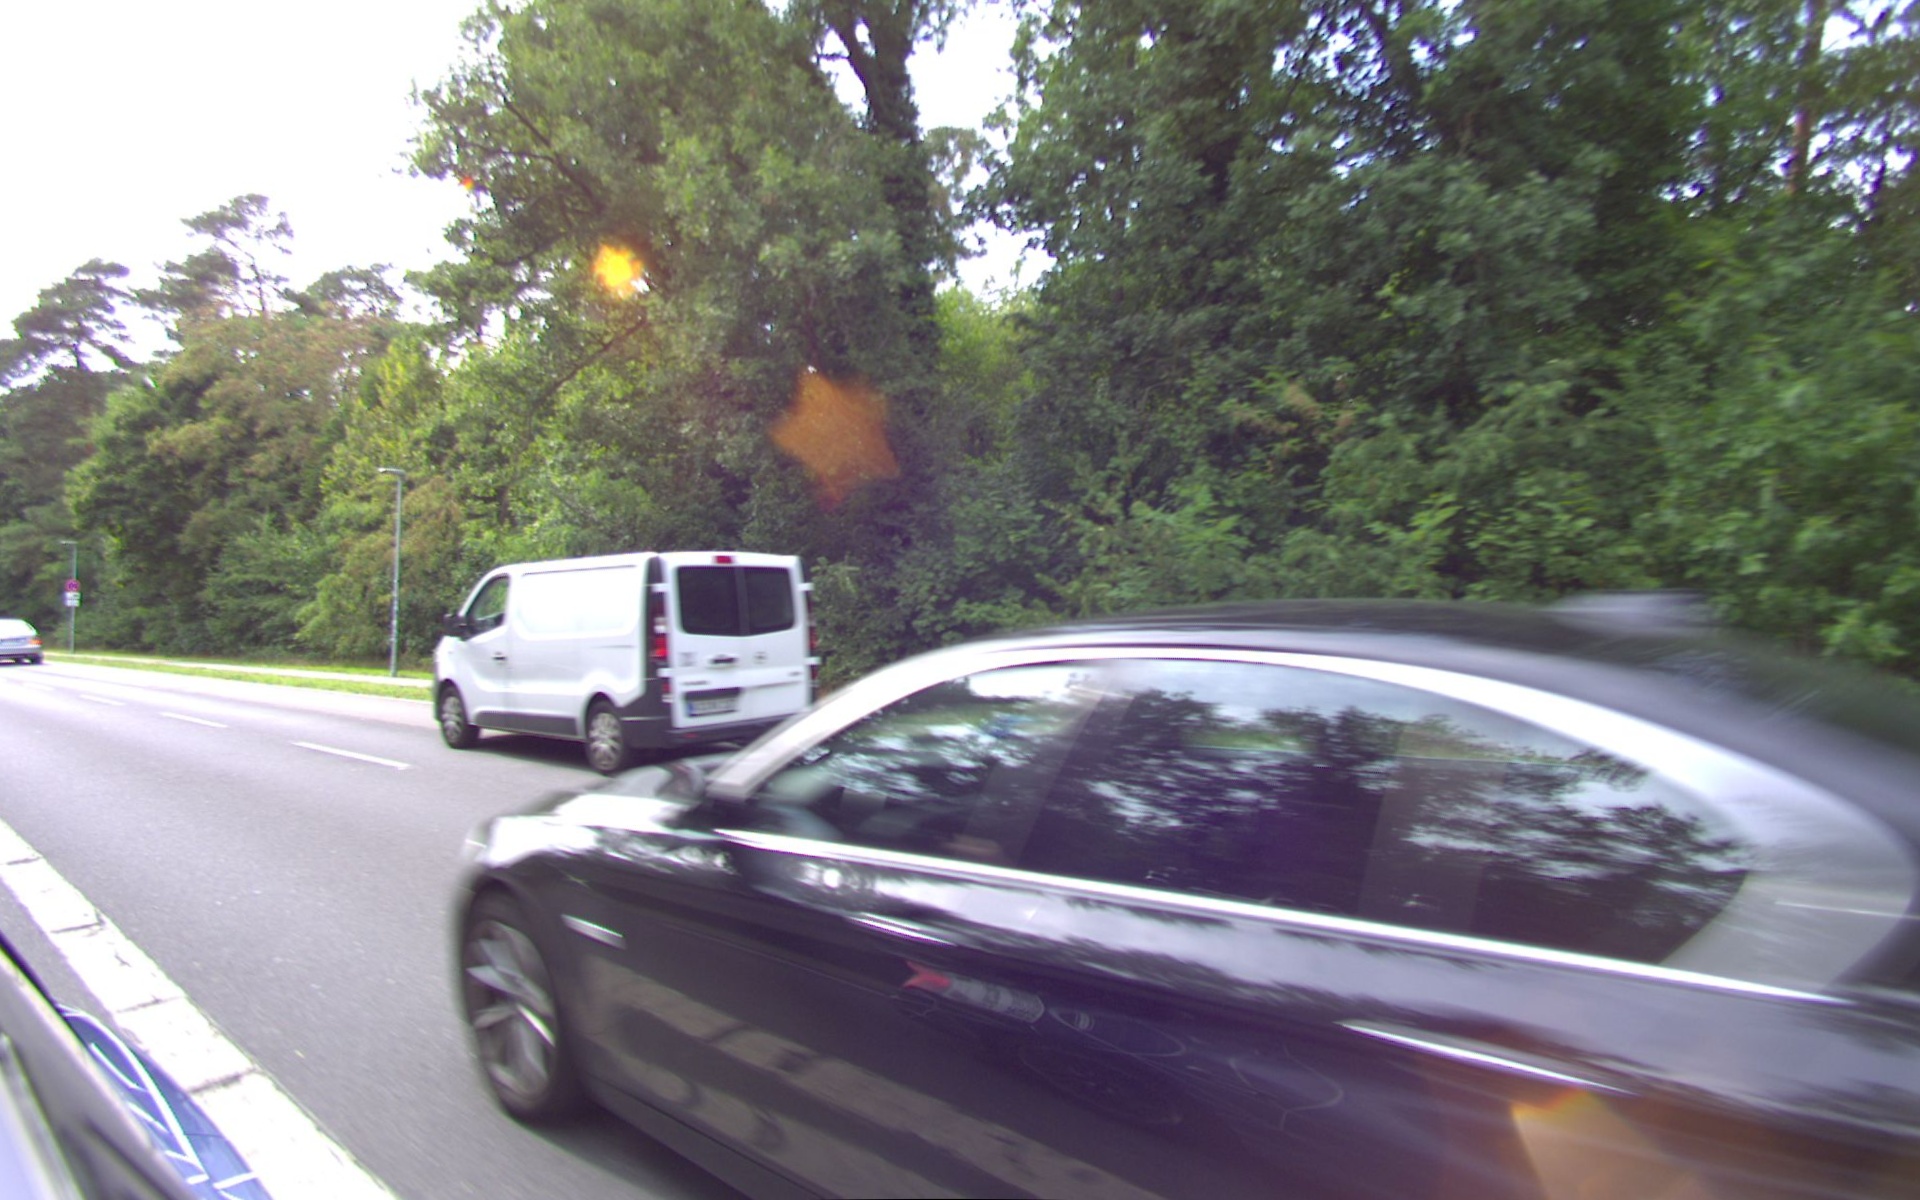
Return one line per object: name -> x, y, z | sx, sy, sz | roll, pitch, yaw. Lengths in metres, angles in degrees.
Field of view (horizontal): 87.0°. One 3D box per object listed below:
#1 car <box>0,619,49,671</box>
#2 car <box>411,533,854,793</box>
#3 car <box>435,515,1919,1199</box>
car -> -32.066, 1.480, 33.655 | 4.600, 1.574, 1.974 | 0, 1, 40
car -> -3.533, 0.564, 10.302 | 5.051, 2.029, 1.973 | -2, -2, 41
car -> 0.798, 0.647, 2.151 | 4.517, 1.489, 1.866 | 0, 1, 41
